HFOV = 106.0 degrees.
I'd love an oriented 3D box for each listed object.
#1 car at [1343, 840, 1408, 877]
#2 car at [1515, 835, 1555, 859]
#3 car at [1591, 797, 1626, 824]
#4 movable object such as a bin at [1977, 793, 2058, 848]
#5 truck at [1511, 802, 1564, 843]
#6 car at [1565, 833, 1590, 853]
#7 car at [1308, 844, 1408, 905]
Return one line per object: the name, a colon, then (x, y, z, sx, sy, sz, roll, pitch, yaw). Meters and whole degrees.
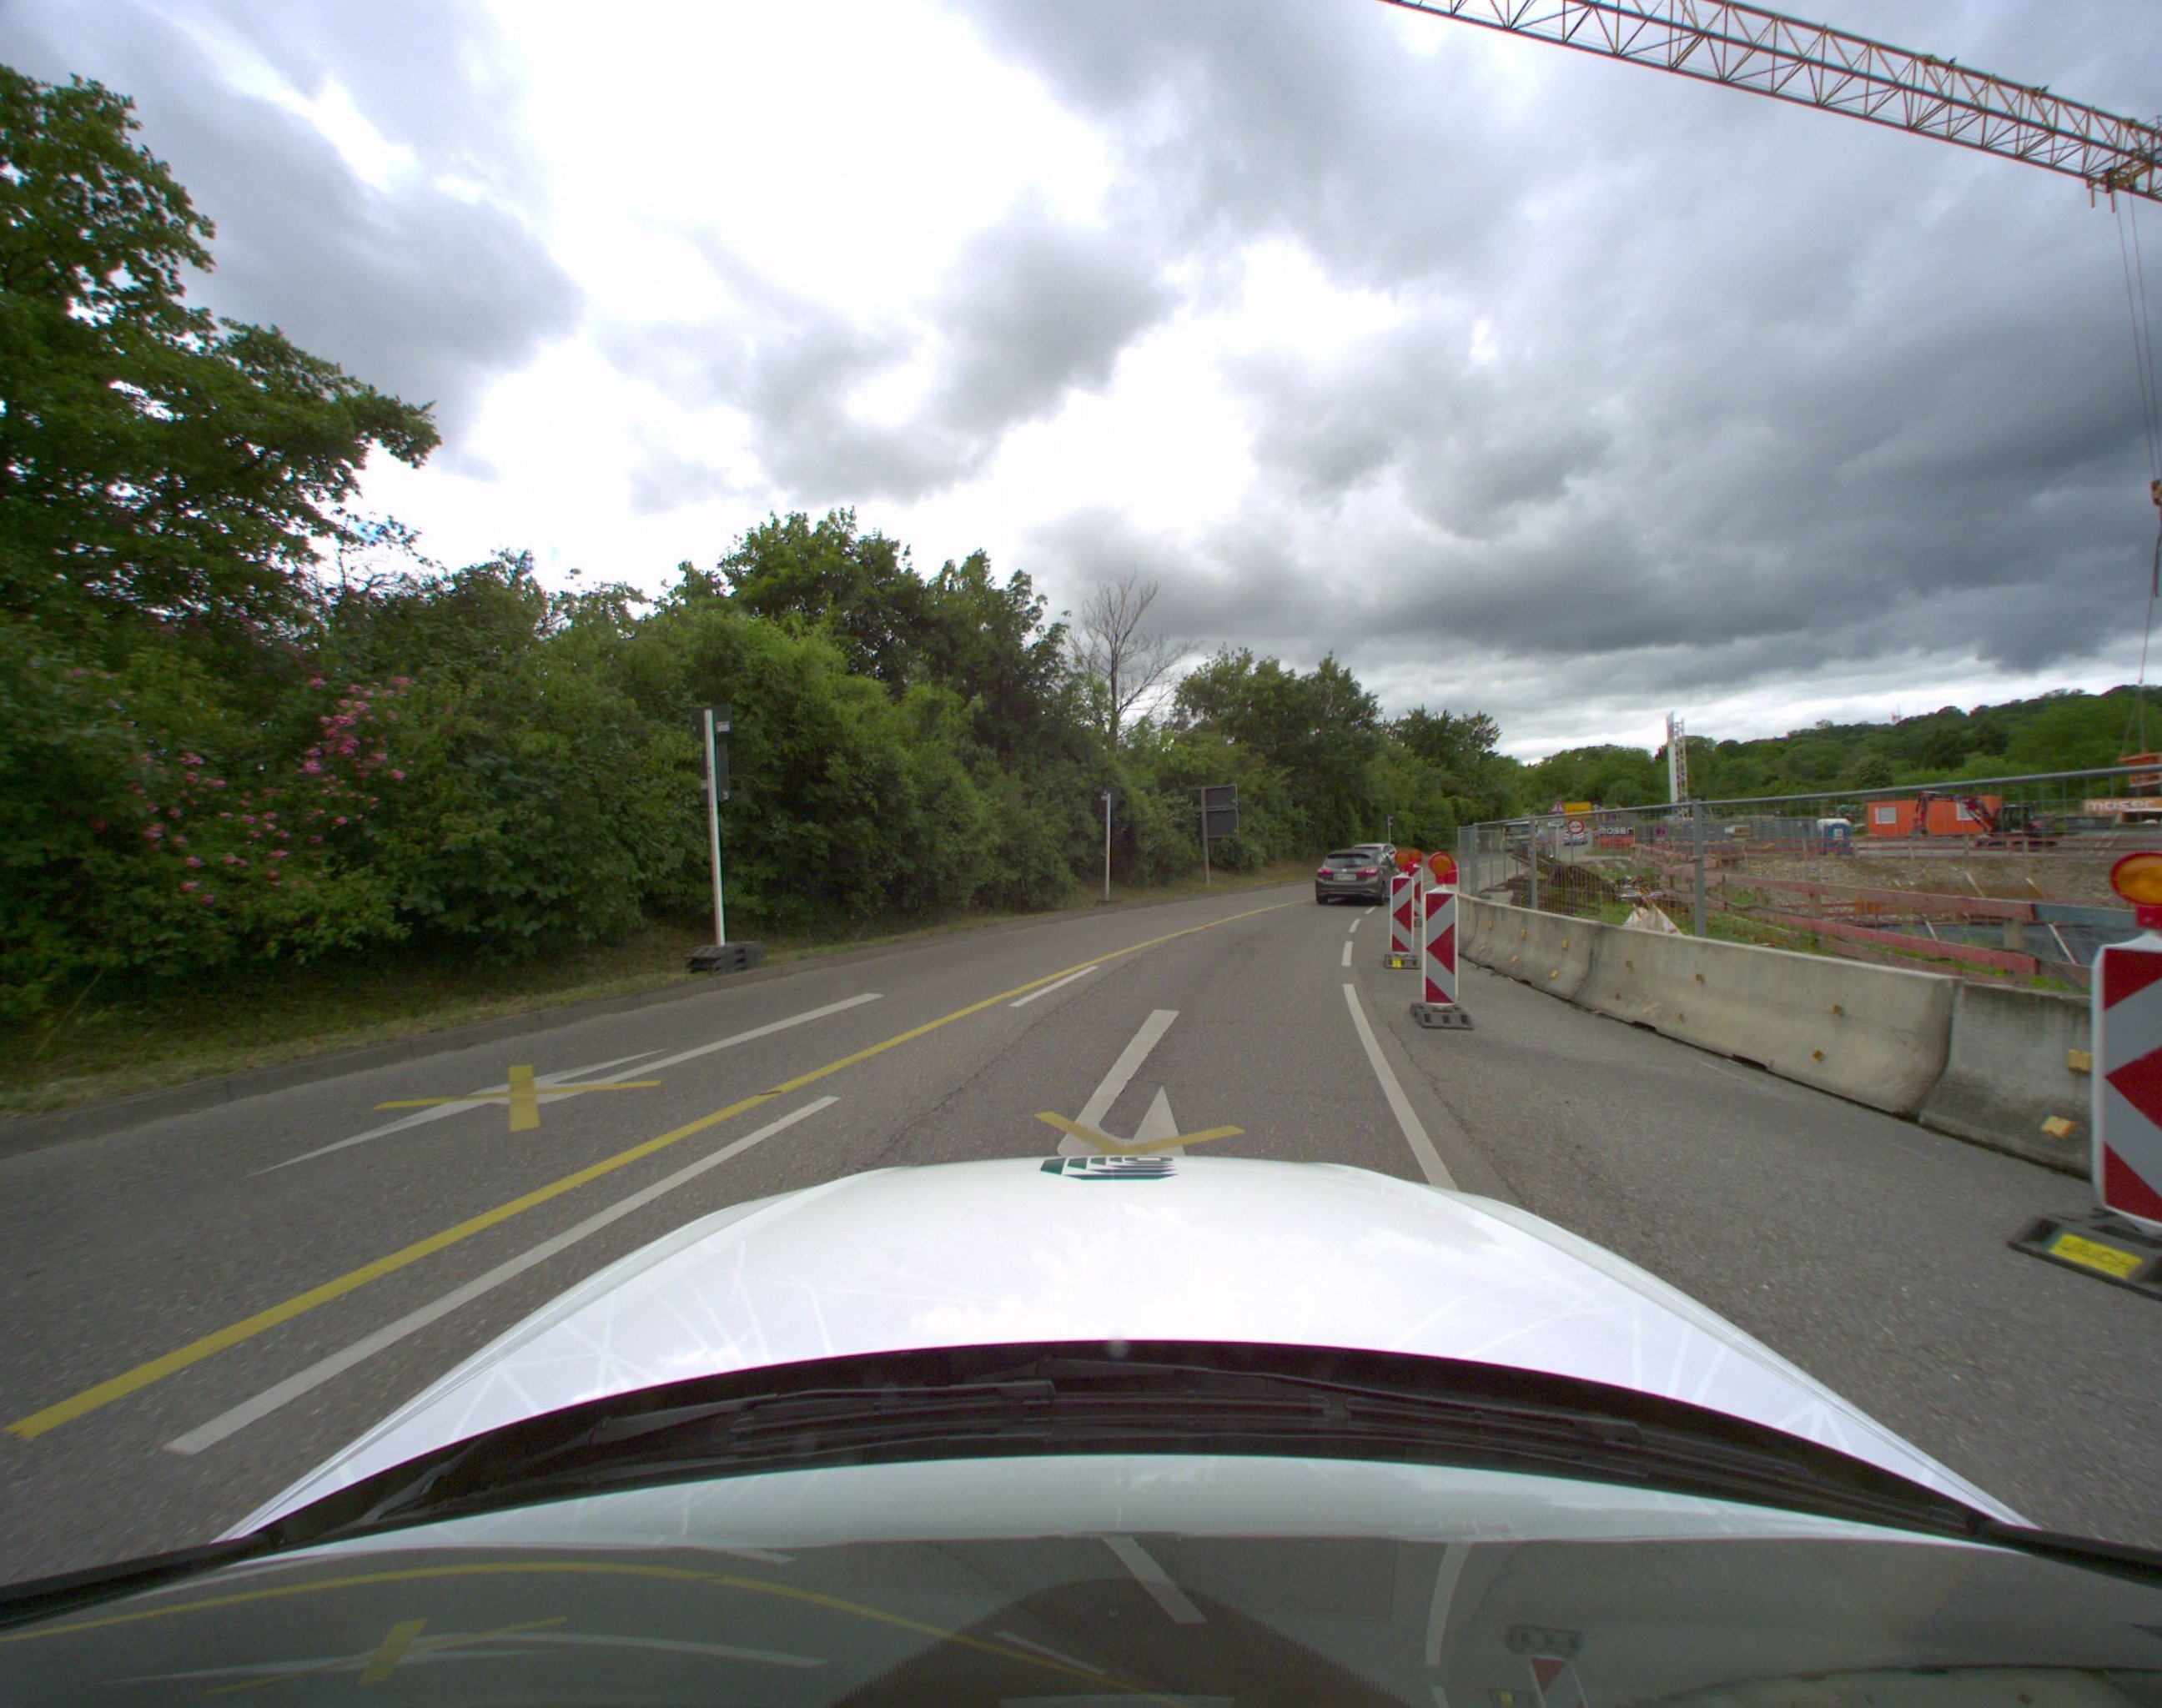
car: (13.302, 0.168, 36.656, 1.640, 1.552, 4.214, 0, 1, 36)
car: (30.999, -0.469, 55.571, 1.802, 1.552, 3.813, 0, 1, 39)
car: (44.722, -3.675, 69.036, 1.974, 2.014, 4.025, -3, -1, 39)
movable object such as a bin: (56.482, -1.965, 49.189, 2.764, 3.077, 1.853, -3, -1, 36)
truck: (40.246, -2.802, 71.652, 2.792, 3.335, 8.435, -3, 1, 37)
car: (45.241, -0.987, 74.203, 1.695, 1.675, 4.026, -3, -1, 34)
car: (7.956, 0.510, 23.191, 1.780, 1.552, 4.025, 0, 1, 33)
